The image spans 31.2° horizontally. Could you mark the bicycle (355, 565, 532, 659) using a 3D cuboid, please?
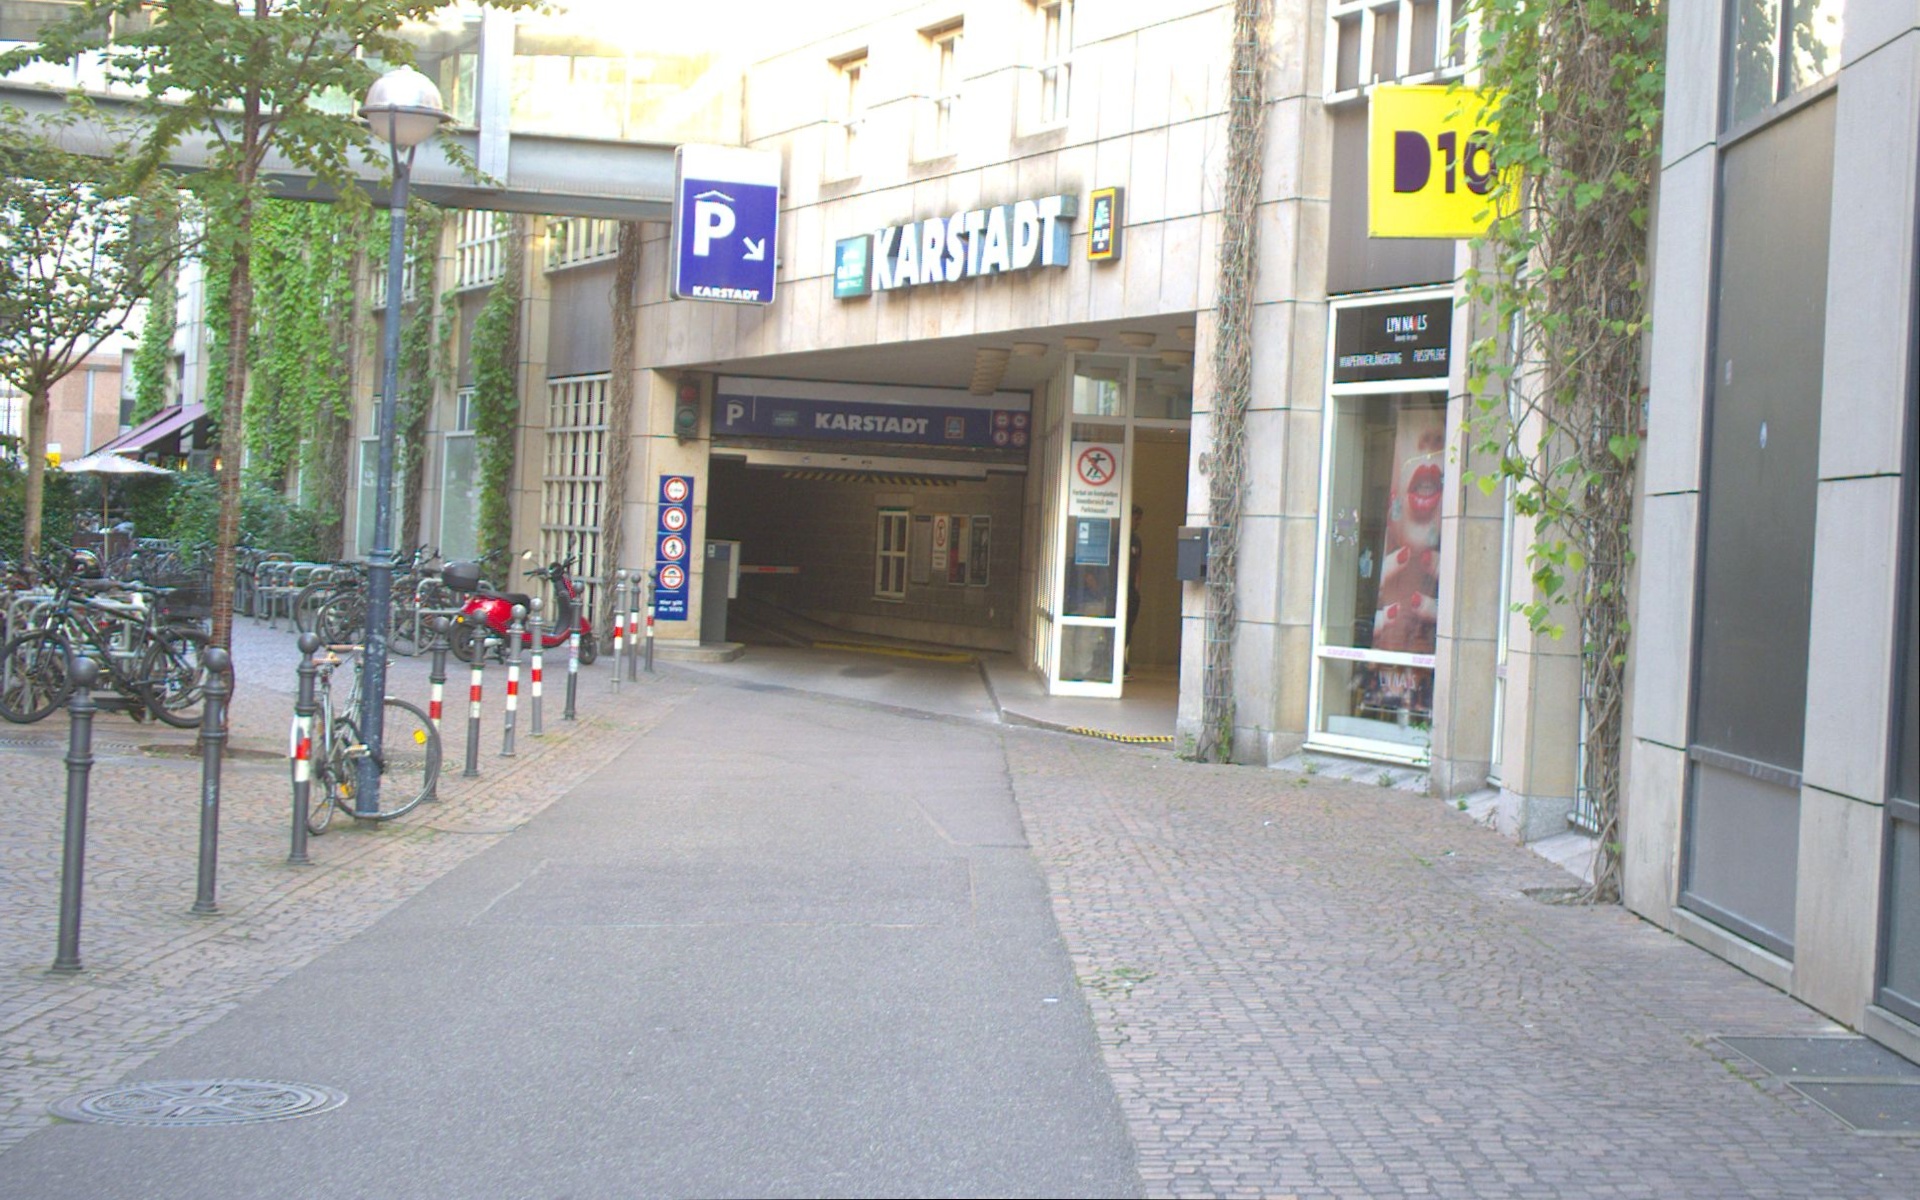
[{"bbox_3d":[-5.703,0.132,37.959,1.847,0.978,0.464,2,1,-21],"label":"bicycle"}]

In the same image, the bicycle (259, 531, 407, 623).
[{"bbox_3d":[-8.084,-0.294,44.343,1.773,1.110,0.543,2,1,-21],"label":"bicycle"}]

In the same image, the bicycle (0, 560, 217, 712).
[{"bbox_3d":[-6.681,0.271,26.328,1.836,1.118,0.534,1,1,-23],"label":"bicycle"}]

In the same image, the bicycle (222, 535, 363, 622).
[{"bbox_3d":[-9.042,-0.289,46.562,1.773,1.110,0.543,2,1,-21],"label":"bicycle"}]

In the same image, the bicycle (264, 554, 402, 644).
[{"bbox_3d":[-7.678,-0.013,42.104,1.539,1.045,0.575,2,1,-21],"label":"bicycle"}]

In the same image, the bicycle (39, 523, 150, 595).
[{"bbox_3d":[-15.031,-0.716,59.696,1.773,1.186,0.586,2,1,-21],"label":"bicycle"}]

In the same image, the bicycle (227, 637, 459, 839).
[{"bbox_3d":[-3.169,0.689,17.791,0.493,0.935,1.658,4,1,14],"label":"bicycle"}]

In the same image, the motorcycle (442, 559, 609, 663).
[{"bbox_3d":[-4.600,0.115,36.420,1.662,1.047,0.464,2,1,-21],"label":"motorcycle"}]

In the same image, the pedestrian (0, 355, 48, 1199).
[{"bbox_3d":[-2.080,0.467,5.926,0.742,1.816,0.878,2,1,-1],"label":"pedestrian"}]

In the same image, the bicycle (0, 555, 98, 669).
[{"bbox_3d":[-9.096,0.101,32.234,1.876,1.039,0.534,1,1,-23],"label":"bicycle"}]

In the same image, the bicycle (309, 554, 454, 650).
[{"bbox_3d":[-6.685,0.020,39.744,1.539,1.045,0.575,2,1,-21],"label":"bicycle"}]

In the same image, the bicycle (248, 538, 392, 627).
[{"bbox_3d":[-8.475,-0.234,45.540,1.773,1.110,0.543,2,1,-21],"label":"bicycle"}]

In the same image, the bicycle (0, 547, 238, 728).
[{"bbox_3d":[-6.030,0.262,24.166,1.766,1.226,0.534,1,1,-23],"label":"bicycle"}]

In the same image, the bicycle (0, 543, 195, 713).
[{"bbox_3d":[-6.577,0.205,25.518,1.653,1.226,0.534,1,1,-23],"label":"bicycle"}]

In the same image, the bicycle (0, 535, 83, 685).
[{"bbox_3d":[-8.252,0.065,28.460,1.833,1.221,0.534,1,1,-23],"label":"bicycle"}]

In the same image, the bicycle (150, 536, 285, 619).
[{"bbox_3d":[-10.540,-0.313,48.797,1.773,1.110,0.543,2,1,-21],"label":"bicycle"}]

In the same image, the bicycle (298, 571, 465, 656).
[{"bbox_3d":[-6.522,0.154,38.798,1.773,0.901,0.464,2,1,-21],"label":"bicycle"}]

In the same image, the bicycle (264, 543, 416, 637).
[{"bbox_3d":[-7.800,-0.128,43.275,1.773,1.110,0.543,2,1,-21],"label":"bicycle"}]

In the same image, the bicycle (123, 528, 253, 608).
[{"bbox_3d":[-11.363,-0.466,50.587,1.773,1.110,0.543,2,1,-21],"label":"bicycle"}]

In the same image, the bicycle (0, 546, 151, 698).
[{"bbox_3d":[-7.429,0.169,27.269,1.872,1.173,0.534,1,1,-23],"label":"bicycle"}]

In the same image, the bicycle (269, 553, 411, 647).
[{"bbox_3d":[-7.339,0.001,40.712,1.539,1.045,0.575,2,1,-21],"label":"bicycle"}]

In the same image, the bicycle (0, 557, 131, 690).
[{"bbox_3d":[-7.722,0.181,27.796,1.893,1.048,0.534,1,1,-23],"label":"bicycle"}]

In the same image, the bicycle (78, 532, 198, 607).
[{"bbox_3d":[-13.035,-0.486,54.535,1.773,1.110,0.543,2,1,-18],"label":"bicycle"}]
